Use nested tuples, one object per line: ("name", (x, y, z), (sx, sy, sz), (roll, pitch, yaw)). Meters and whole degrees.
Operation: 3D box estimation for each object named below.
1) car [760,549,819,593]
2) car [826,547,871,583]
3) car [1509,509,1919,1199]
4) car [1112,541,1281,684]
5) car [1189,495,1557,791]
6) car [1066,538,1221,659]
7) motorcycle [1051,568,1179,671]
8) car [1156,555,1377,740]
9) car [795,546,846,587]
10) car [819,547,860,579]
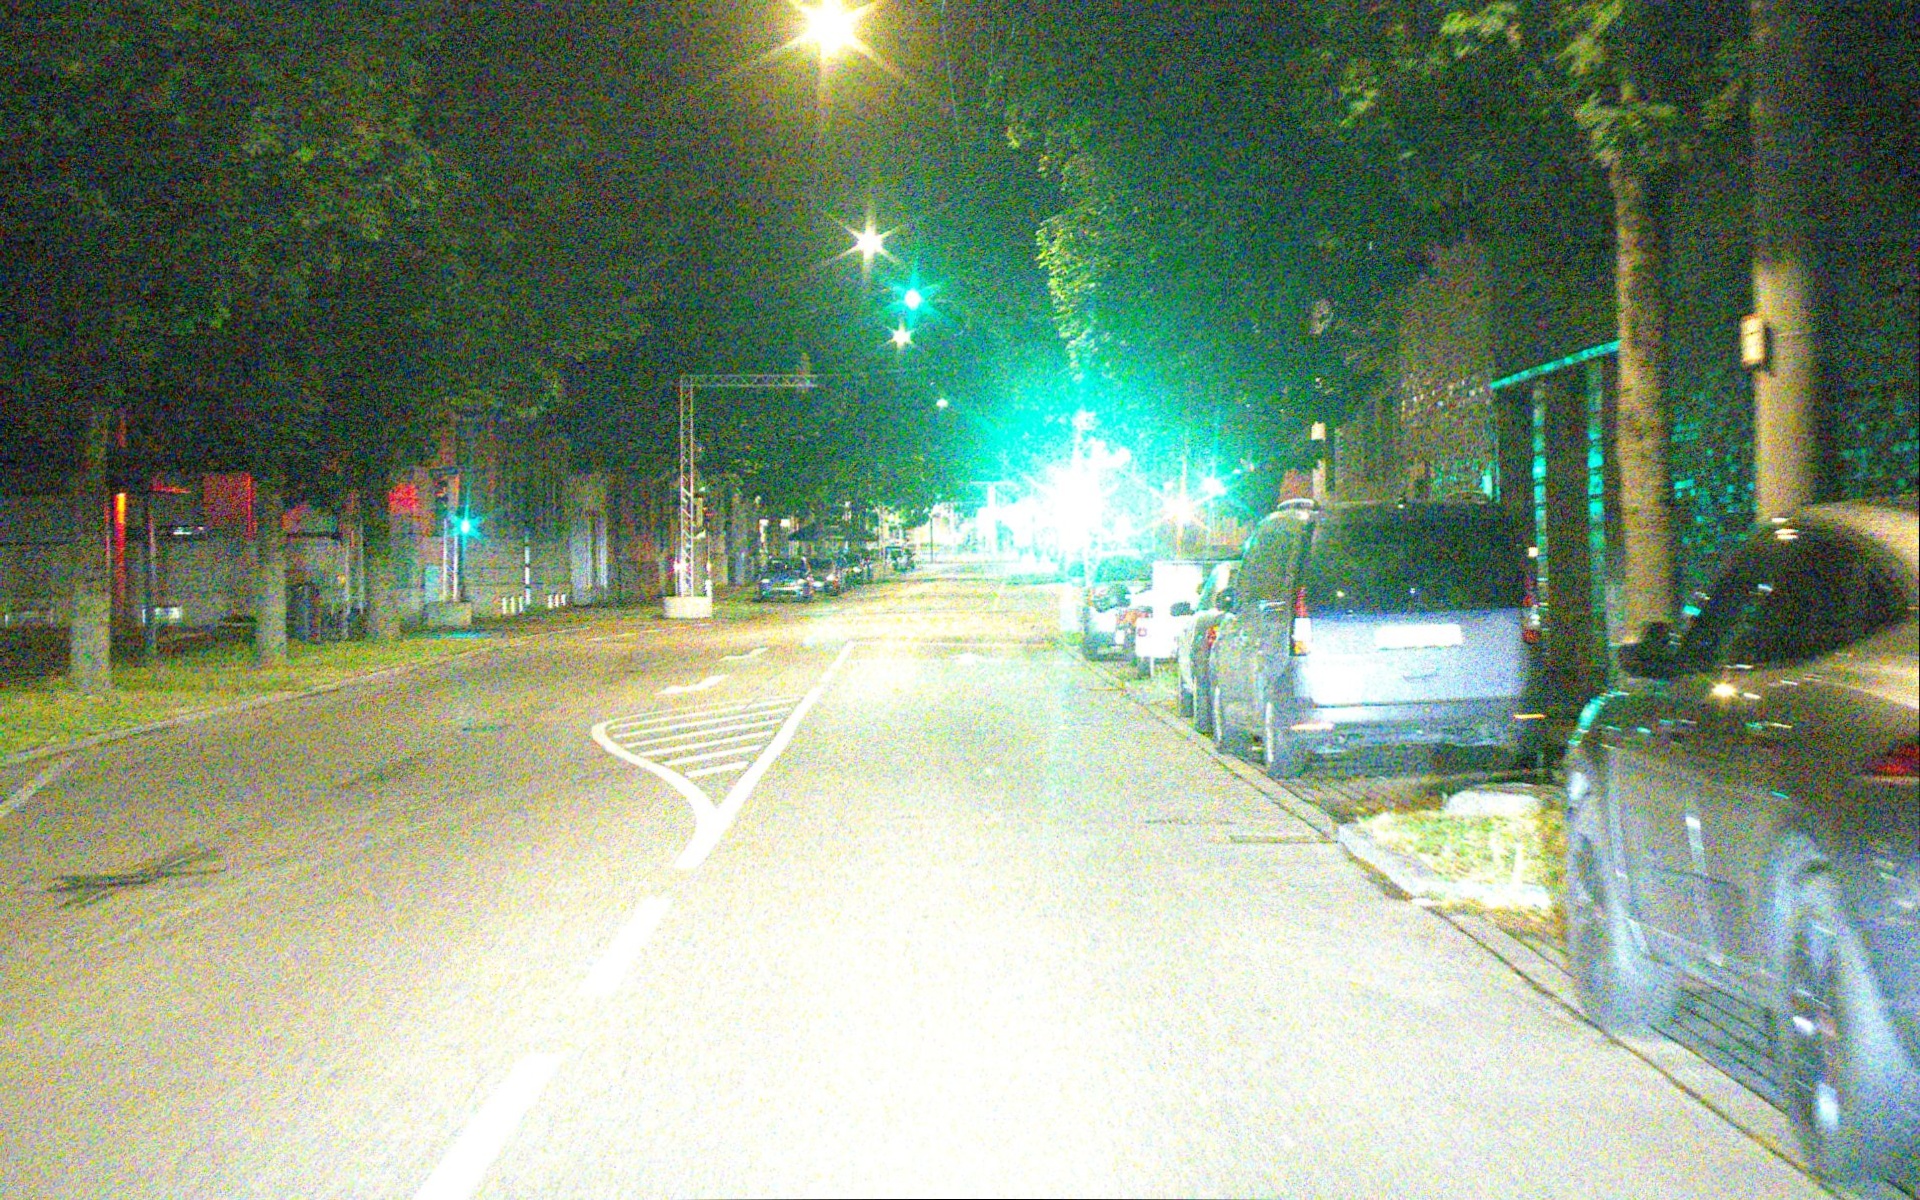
("car", (-5.517, -0.953, 111.721), (1.740, 1.411, 3.752), (0, 1, 0))
("car", (-4.577, -1.445, 141.241), (1.740, 1.411, 3.752), (0, 1, 0))
("car", (2.835, 0.563, 9.372), (1.853, 1.599, 4.209), (-4, 1, -1))
("car", (2.759, 0.107, 40.809), (1.591, 1.529, 4.138), (-2, 1, -1))
("car", (2.768, 0.234, 23.959), (1.771, 1.800, 4.278), (-2, 1, -3))
("car", (2.521, -0.055, 48.114), (1.853, 1.584, 4.301), (-1, 1, -1))
("motorcycle", (2.008, 0.236, 44.227), (0.637, 1.265, 2.060), (0, 1, 35))
("car", (2.560, 0.352, 29.404), (1.520, 1.391, 3.984), (-2, 1, 1))
("car", (-5.148, -1.249, 127.176), (1.740, 1.411, 3.752), (0, 2, 0))
("car", (-5.416, -1.685, 154.856), (1.740, 1.411, 3.752), (0, 1, 0))
